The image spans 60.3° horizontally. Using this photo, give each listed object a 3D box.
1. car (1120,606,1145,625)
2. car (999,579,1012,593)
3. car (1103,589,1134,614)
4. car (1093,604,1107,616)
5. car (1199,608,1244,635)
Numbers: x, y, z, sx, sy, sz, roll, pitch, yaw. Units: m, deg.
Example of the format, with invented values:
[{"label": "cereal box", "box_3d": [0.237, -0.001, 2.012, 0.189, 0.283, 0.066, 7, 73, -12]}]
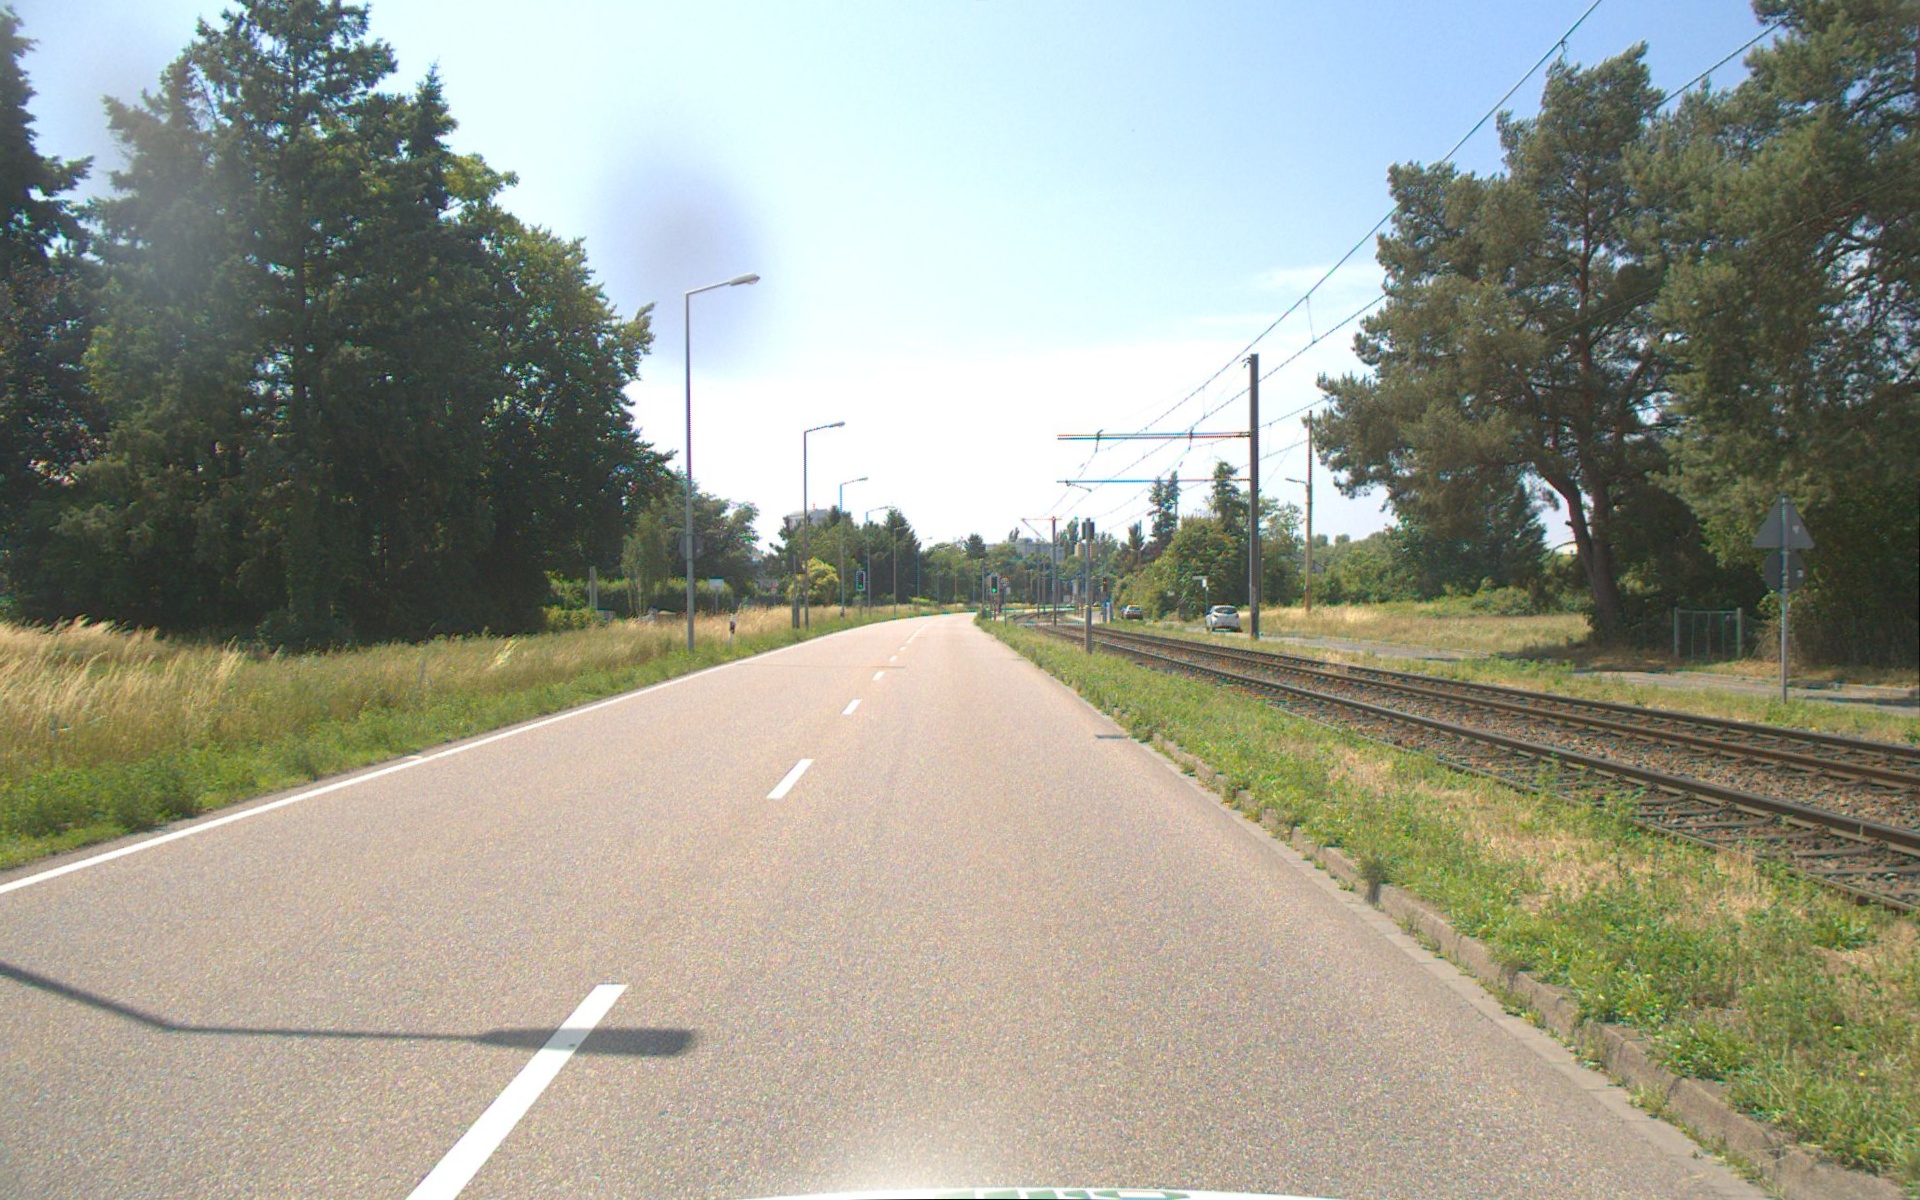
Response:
[{"label": "car", "box_3d": [15.956, 1.440, 153.098, 1.876, 1.691, 3.999, -1, -1, 0]}, {"label": "car", "box_3d": [5.707, -1.740, 207.722, 1.520, 1.613, 3.568, -1, -1, 0]}, {"label": "car", "box_3d": [10.998, 0.121, 114.992, 1.708, 1.587, 3.999, -1, -1, 0]}, {"label": "car", "box_3d": [20.403, 1.466, 241.242, 1.721, 1.780, 3.999, -1, -1, 0]}, {"label": "car", "box_3d": [15.417, 1.295, 97.691, 1.953, 1.534, 3.999, -1, -1, -1]}]
